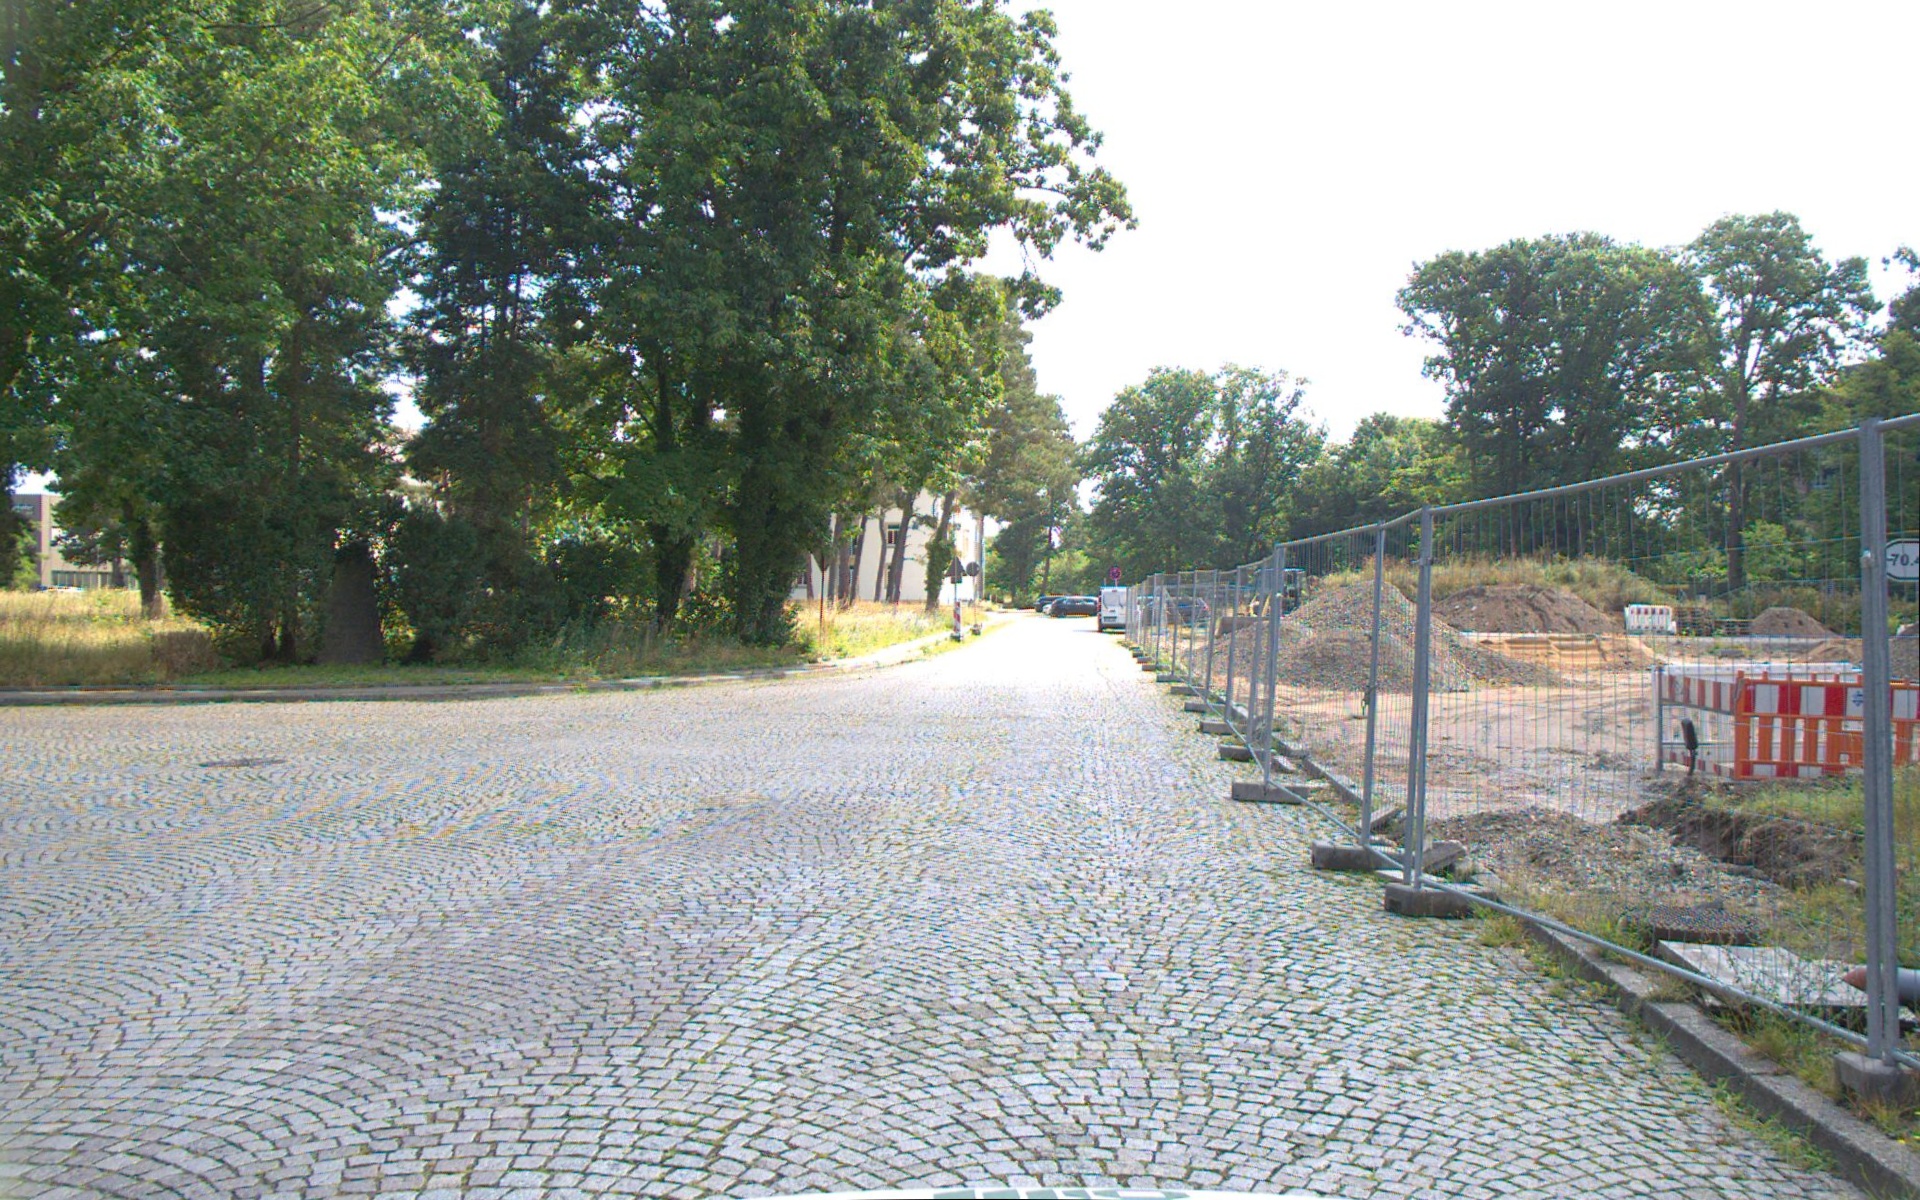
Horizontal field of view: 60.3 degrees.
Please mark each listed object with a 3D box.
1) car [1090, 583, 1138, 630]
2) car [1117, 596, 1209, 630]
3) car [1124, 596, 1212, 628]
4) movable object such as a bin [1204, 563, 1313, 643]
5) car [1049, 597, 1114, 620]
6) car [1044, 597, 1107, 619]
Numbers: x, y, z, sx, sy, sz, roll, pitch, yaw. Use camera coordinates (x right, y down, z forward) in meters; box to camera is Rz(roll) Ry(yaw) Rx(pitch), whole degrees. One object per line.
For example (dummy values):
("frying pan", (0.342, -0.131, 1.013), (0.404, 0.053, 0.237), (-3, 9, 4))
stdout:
("car", (7.000, 0.282, 75.411), (1.952, 2.049, 4.092), (1, 0, 2))
("car", (9.949, 0.608, 81.012), (4.308, 1.537, 2.002), (1, 0, 12))
("car", (10.668, 0.615, 84.687), (4.308, 1.537, 2.002), (1, 0, 12))
("movable object such as a bin", (10.383, 0.095, 57.224), (2.090, 2.638, 4.778), (0, 0, 32))
("car", (9.074, 0.610, 123.584), (4.683, 1.669, 1.999), (1, 0, -2))
("car", (8.824, 0.595, 126.709), (4.683, 1.669, 1.999), (1, 0, -2))
